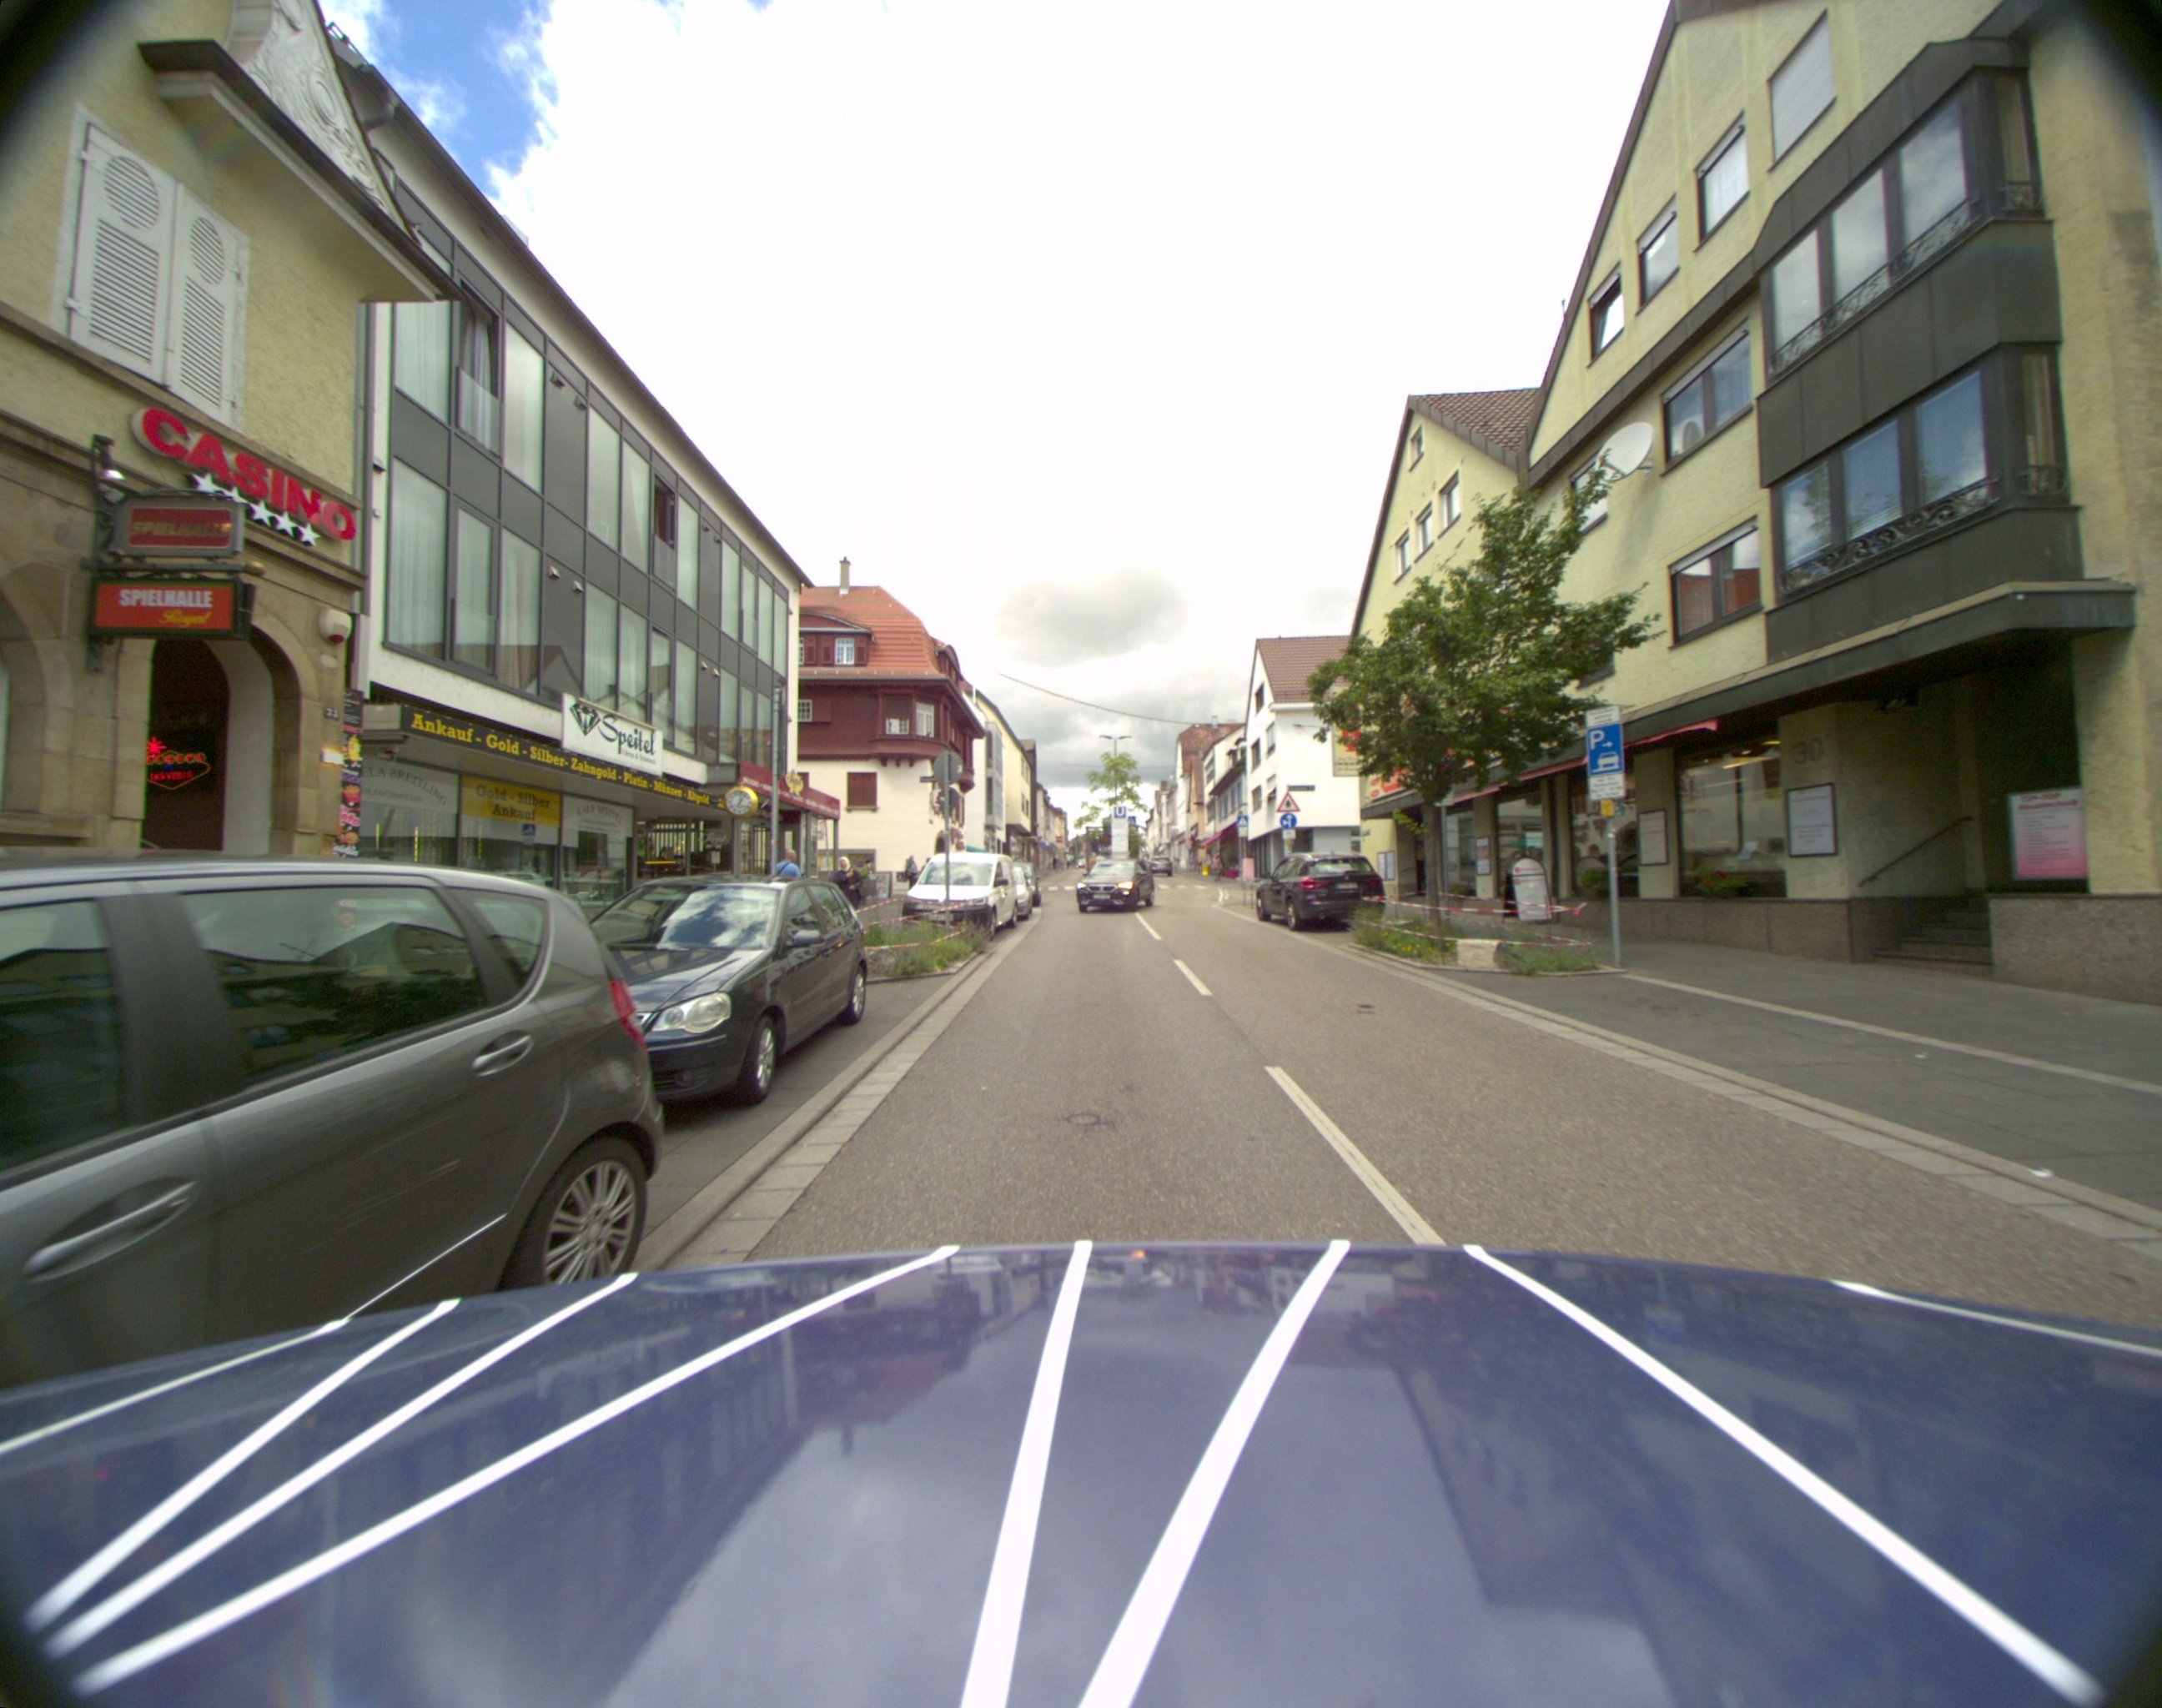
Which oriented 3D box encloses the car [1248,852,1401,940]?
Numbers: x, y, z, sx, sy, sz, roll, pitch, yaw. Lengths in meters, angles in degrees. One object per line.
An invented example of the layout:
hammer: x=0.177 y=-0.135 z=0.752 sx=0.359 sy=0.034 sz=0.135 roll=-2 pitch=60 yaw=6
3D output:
car: x=5.377 y=0.870 z=17.512 sx=2.012 sy=1.683 sz=4.607 roll=-2 pitch=0 yaw=0

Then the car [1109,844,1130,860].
car: x=4.024 y=-0.183 z=79.513 sx=1.998 sy=1.580 sz=4.495 roll=-2 pitch=0 yaw=1

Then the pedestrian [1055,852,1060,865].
pedestrian: x=-3.045 y=0.609 z=98.865 sx=0.663 sy=1.696 sz=0.780 roll=-1 pitch=0 yaw=-1

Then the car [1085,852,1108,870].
car: x=1.424 y=0.593 z=70.978 sx=1.999 sy=1.557 sz=4.431 roll=-2 pitch=0 yaw=0

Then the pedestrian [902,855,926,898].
pedestrian: x=-6.952 y=0.929 z=31.705 sx=0.776 sy=1.759 sz=0.817 roll=-1 pitch=1 yaw=2

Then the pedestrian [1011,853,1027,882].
pedestrian: x=-3.910 y=0.849 z=48.199 sx=0.987 sy=1.777 sz=0.919 roll=-1 pitch=0 yaw=-4

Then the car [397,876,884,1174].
car: x=-2.913 y=1.000 z=6.112 sx=1.753 sy=1.500 sz=3.873 roll=1 pitch=0 yaw=-2

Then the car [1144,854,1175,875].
car: x=6.466 y=0.833 z=63.187 sx=1.968 sy=1.611 sz=4.354 roll=0 pitch=0 yaw=-2

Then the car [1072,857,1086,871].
car: x=-0.270 y=1.494 z=114.272 sx=1.998 sy=2.002 sz=4.000 roll=-1 pitch=0 yaw=1

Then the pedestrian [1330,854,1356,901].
pedestrian: x=9.864 y=0.867 z=28.620 sx=0.638 sy=1.728 sz=0.835 roll=0 pitch=1 yaw=-2

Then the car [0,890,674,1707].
car: x=-2.593 y=0.959 z=1.139 sx=1.752 sy=1.598 sz=3.801 roll=1 pitch=0 yaw=3

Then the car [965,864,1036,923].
car: x=-2.215 y=1.053 z=21.772 sx=1.707 sy=1.459 sz=3.999 roll=0 pitch=0 yaw=-2

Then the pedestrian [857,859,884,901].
pedestrian: x=-8.444 y=1.031 z=30.546 sx=0.774 sy=1.636 sz=0.870 roll=0 pitch=1 yaw=7

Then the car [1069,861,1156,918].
car: x=1.102 y=1.031 z=23.985 sx=1.912 sy=1.560 sz=4.377 roll=0 pitch=0 yaw=14

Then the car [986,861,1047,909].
car: x=-2.312 y=1.097 z=28.334 sx=1.807 sy=1.546 sz=3.954 roll=-2 pitch=0 yaw=1

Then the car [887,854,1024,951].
car: x=-2.557 y=0.931 z=16.768 sx=1.881 sy=1.789 sz=4.733 roll=-1 pitch=0 yaw=4

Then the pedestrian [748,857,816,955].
pedestrian: x=-5.479 y=0.925 z=13.996 sx=0.798 sy=1.717 sz=1.053 roll=0 pitch=1 yaw=1

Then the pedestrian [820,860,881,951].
pedestrian: x=-4.333 y=0.952 z=14.343 sx=0.825 sy=1.656 sz=0.802 roll=-1 pitch=1 yaw=7

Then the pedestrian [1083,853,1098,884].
pedestrian: x=0.550 y=0.834 z=43.663 sx=0.676 sy=1.791 sz=0.787 roll=-1 pitch=1 yaw=-12

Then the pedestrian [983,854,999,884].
pedestrian: x=-5.371 y=0.873 z=45.280 sx=0.701 sy=1.756 sz=0.627 roll=0 pitch=1 yaw=26

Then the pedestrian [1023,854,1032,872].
pedestrian: x=-4.971 y=0.813 z=70.850 sx=0.759 sy=1.663 sz=0.780 roll=2 pitch=0 yaw=-1

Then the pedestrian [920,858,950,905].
pedestrian: x=-5.423 y=1.017 z=28.308 sx=0.865 sy=1.697 sz=0.945 roll=0 pitch=1 yaw=7

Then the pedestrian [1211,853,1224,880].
pedestrian: x=8.718 y=0.778 z=48.451 sx=0.696 sy=1.730 sz=0.825 roll=-1 pitch=0 yaw=3
